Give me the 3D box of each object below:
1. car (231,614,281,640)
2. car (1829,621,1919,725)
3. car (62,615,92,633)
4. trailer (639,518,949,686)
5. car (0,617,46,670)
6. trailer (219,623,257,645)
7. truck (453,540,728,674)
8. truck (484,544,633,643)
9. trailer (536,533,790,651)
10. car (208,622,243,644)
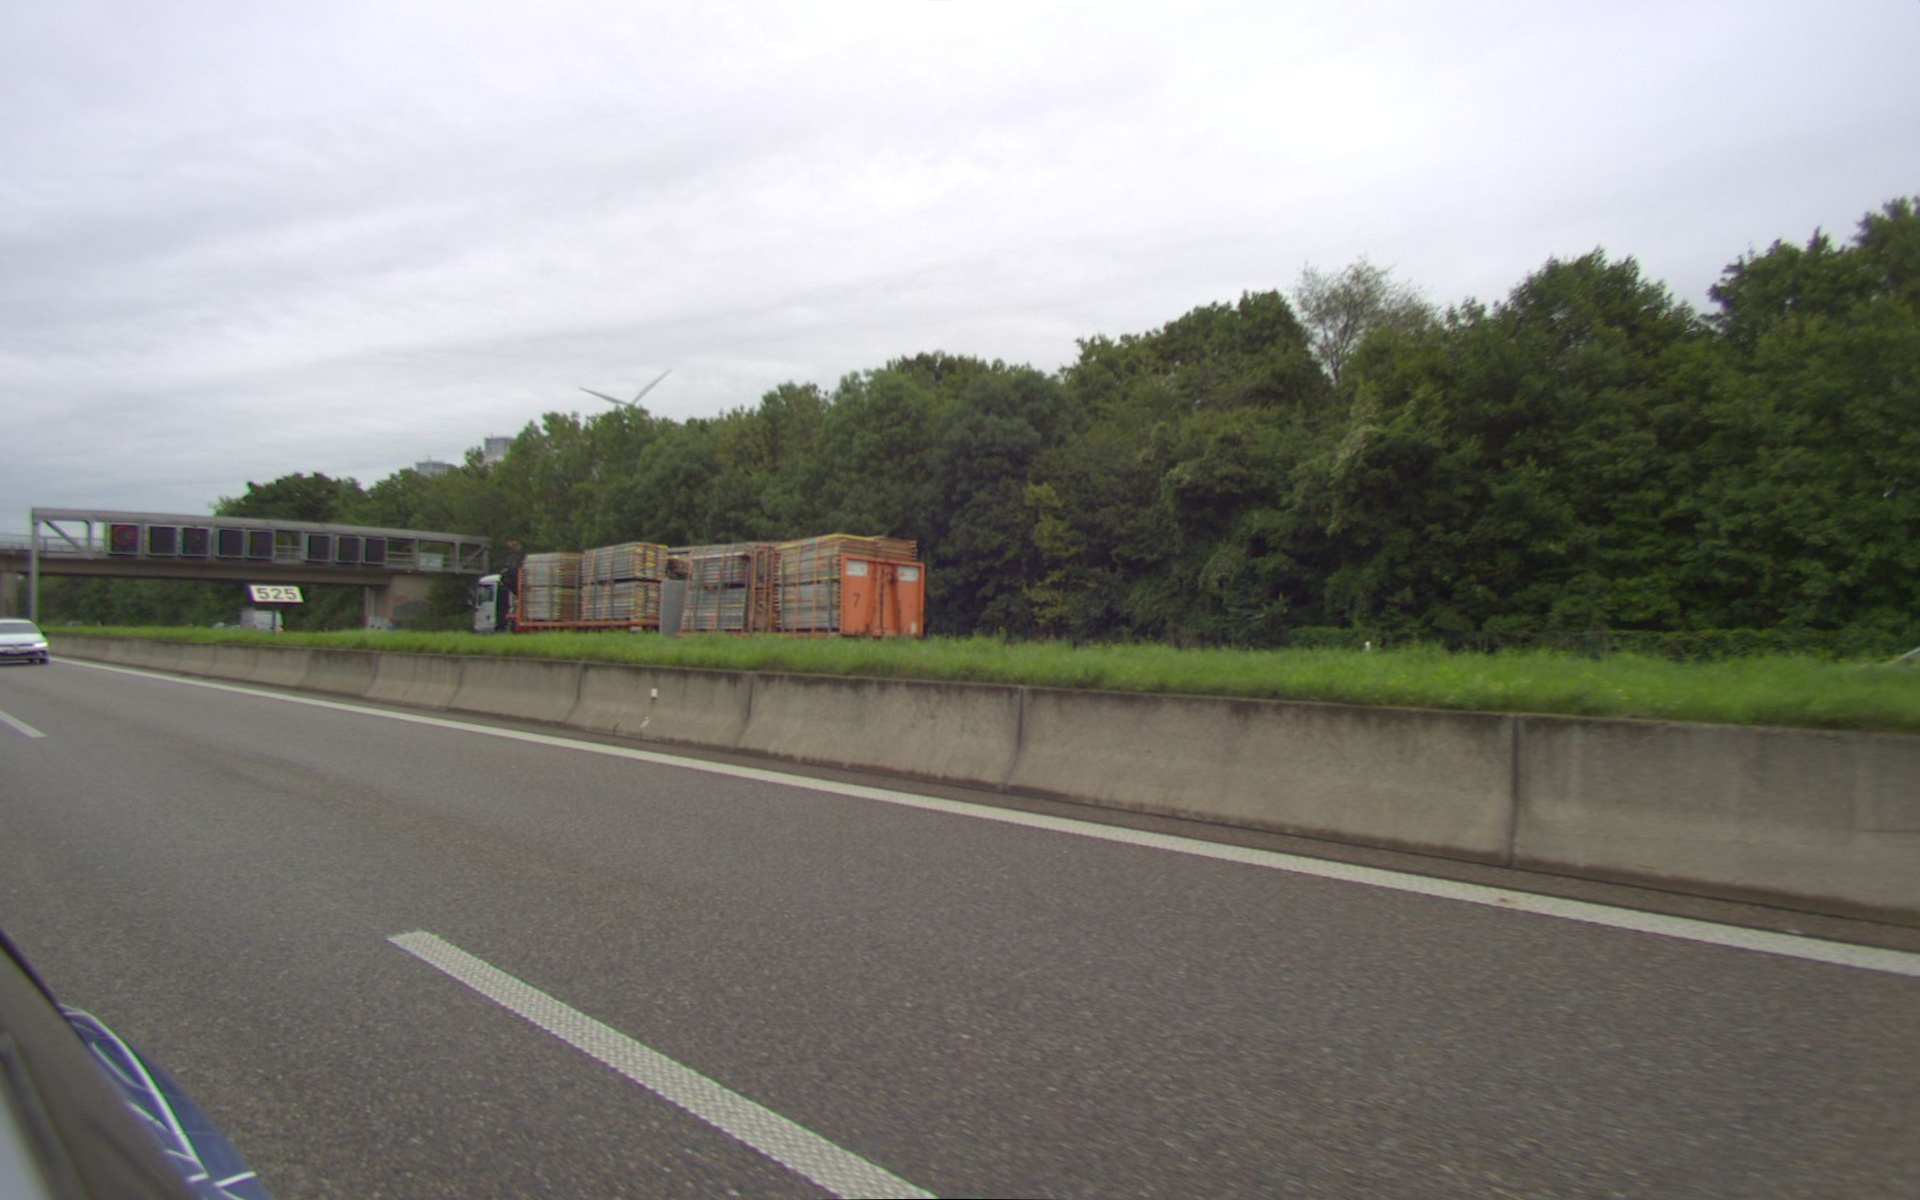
[{"bbox_3d":[-59.213,2.250,85.059,6.065,2.100,2.173,-1,0,42],"label":"car"},{"bbox_3d":[18.537,1.324,18.243,4.304,1.802,1.972,-1,0,43],"label":"car"},{"bbox_3d":[-100.208,2.714,114.865,3.998,1.953,1.973,-1,-1,41],"label":"car"},{"bbox_3d":[-4.326,0.069,24.793,8.317,3.485,2.901,-1,0,42],"label":"trailer"},{"bbox_3d":[-31.300,1.377,32.951,4.661,1.630,1.735,-1,-2,41],"label":"car"},{"bbox_3d":[-69.214,3.240,96.950,5.177,2.029,1.972,-1,0,43],"label":"trailer"},{"bbox_3d":[-11.783,0.220,31.303,11.178,3.492,2.920,-1,0,41],"label":"truck"},{"bbox_3d":[-15.936,-0.216,39.950,6.757,3.578,2.639,-1,0,41],"label":"truck"},{"bbox_3d":[-10.788,-0.201,35.472,11.866,3.567,2.658,-1,0,42],"label":"trailer"},{"bbox_3d":[-72.534,3.231,99.947,4.365,2.029,1.972,-1,0,42],"label":"car"}]
